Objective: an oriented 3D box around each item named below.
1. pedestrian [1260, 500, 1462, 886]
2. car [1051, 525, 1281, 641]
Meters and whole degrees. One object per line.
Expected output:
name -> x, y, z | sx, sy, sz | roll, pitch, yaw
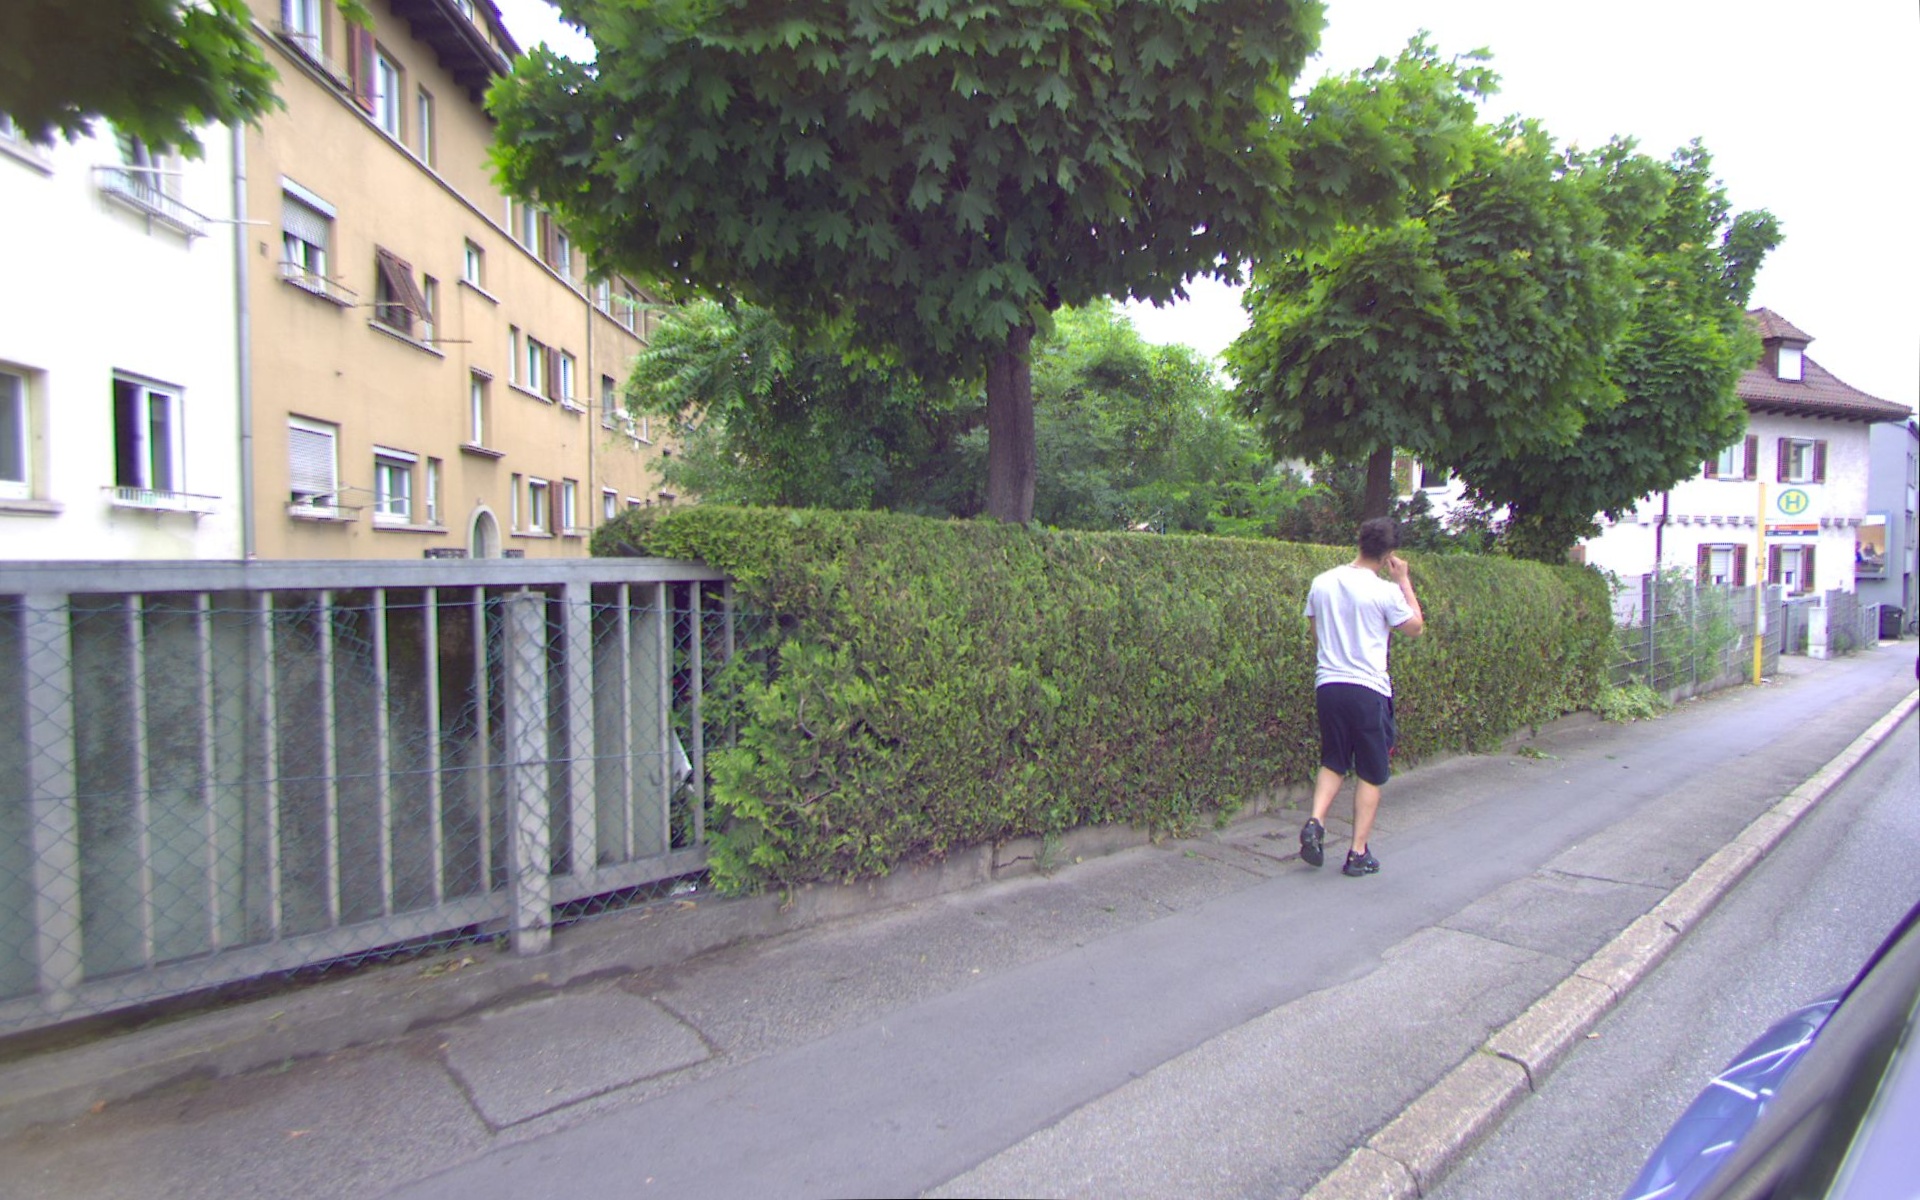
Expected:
pedestrian -> 1.972, 0.406, 5.010 | 0.459, 1.758, 0.695 | 0, 4, -42
car -> 3.843, -0.324, 19.449 | 3.923, 2.039, 2.001 | 1, 1, -1
